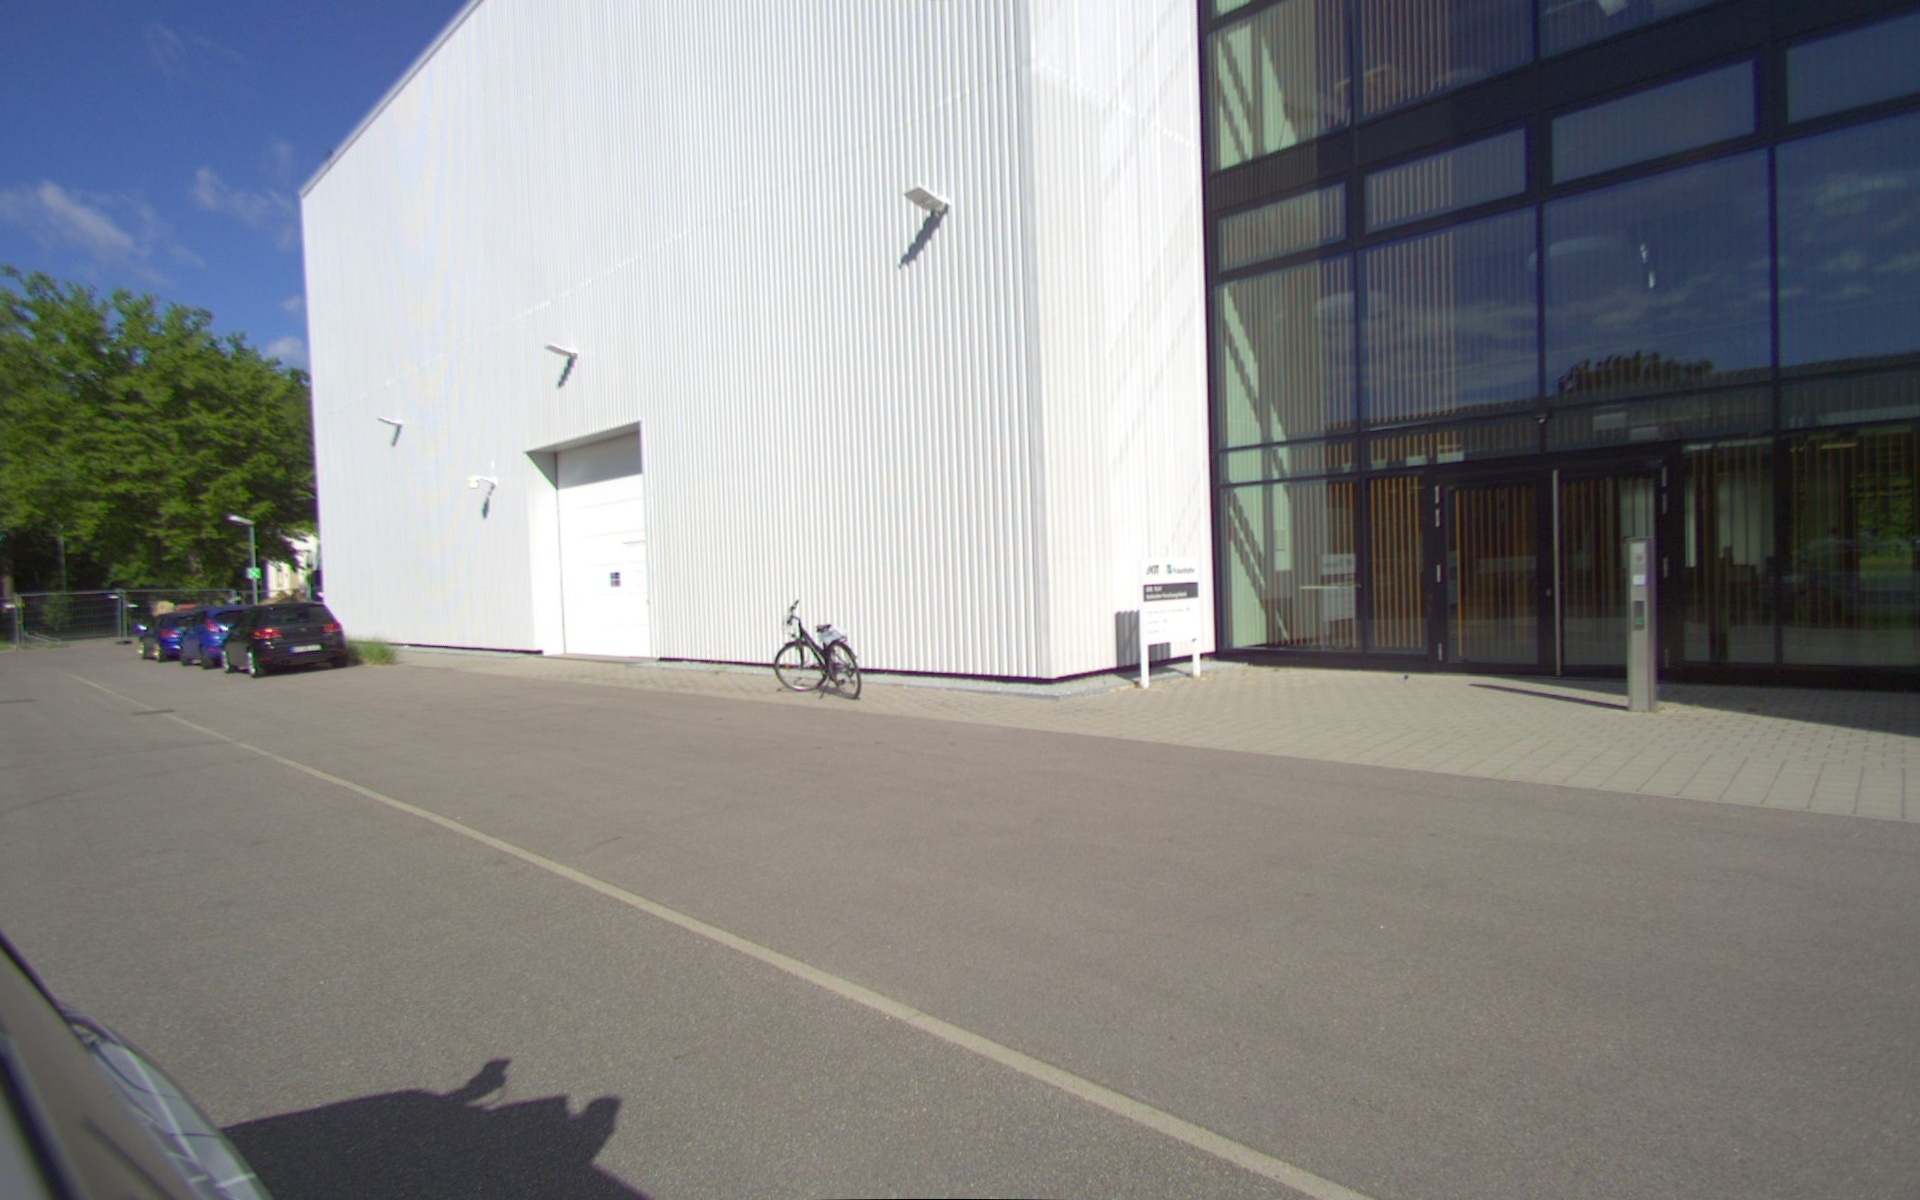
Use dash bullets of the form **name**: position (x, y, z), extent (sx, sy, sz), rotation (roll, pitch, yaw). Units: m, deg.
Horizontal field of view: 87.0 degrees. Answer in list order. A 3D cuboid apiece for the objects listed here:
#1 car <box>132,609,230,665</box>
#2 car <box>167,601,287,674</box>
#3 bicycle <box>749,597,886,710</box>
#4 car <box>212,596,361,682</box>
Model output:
- **car**: position (-22.477, 1.028, 29.164), extent (1.765, 1.451, 4.003), rotation (-2, 0, -44)
- **car**: position (-18.453, 0.899, 25.412), extent (1.765, 1.533, 4.003), rotation (-7, 4, -44)
- **bicycle**: position (-1.761, 0.586, 12.246), extent (0.895, 1.151, 1.905), rotation (-6, 4, -31)
- **car**: position (-14.592, 0.791, 21.853), extent (1.869, 1.533, 4.003), rotation (-7, 4, -44)
